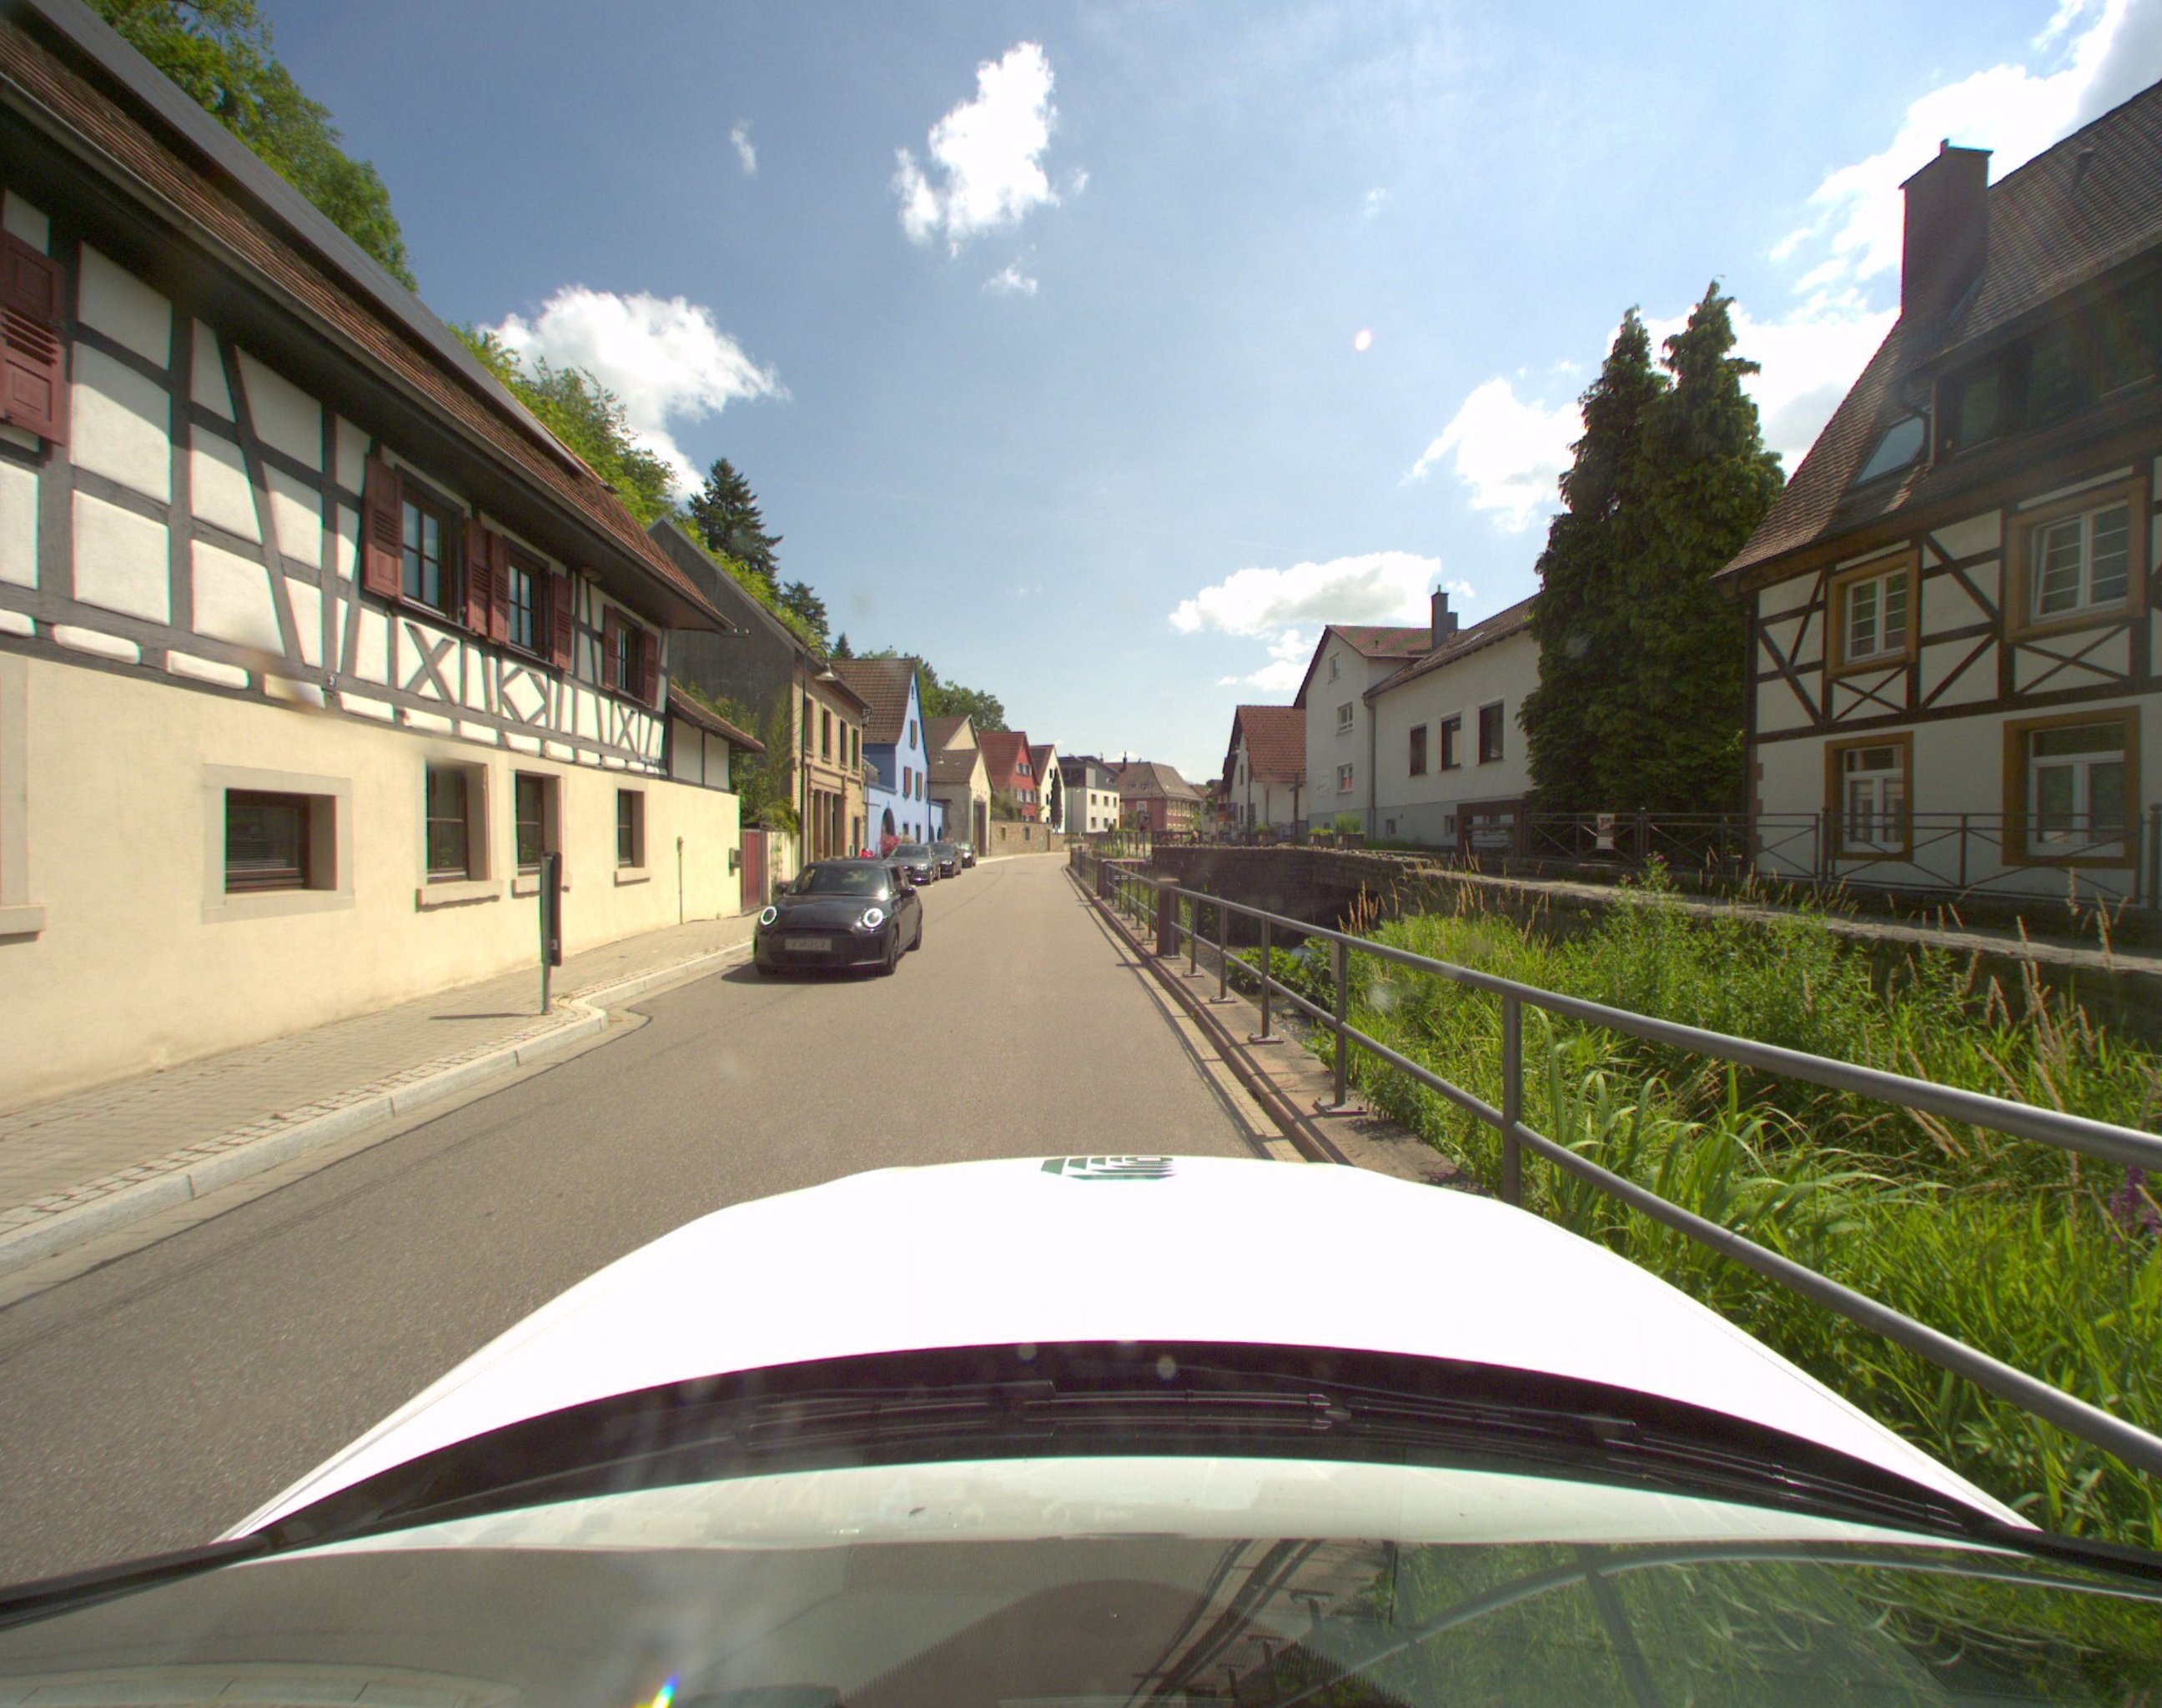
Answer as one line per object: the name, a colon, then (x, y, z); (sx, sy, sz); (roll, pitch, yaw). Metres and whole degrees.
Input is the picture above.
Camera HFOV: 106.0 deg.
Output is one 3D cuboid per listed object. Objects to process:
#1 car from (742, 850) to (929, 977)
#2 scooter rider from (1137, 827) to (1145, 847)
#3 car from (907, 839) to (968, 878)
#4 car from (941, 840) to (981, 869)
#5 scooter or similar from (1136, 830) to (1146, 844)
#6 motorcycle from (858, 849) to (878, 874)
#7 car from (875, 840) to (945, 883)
car: (-3.271, 0.686, 11.725); (1.696, 1.465, 4.427); (0, 0, -5)
scooter rider: (5.105, -1.433, 69.471); (0.640, 1.731, 0.554); (1, 0, -3)
car: (-6.257, 0.142, 35.991); (1.880, 1.463, 4.666); (3, 2, -2)
car: (-6.786, -0.023, 46.461); (1.711, 1.529, 3.856); (-1, 2, 0)
scooter or similar: (5.075, -1.466, 69.361); (0.639, 1.142, 1.810); (-1, 1, -2)
motorcycle: (-8.911, 0.304, 34.154); (0.417, 1.001, 1.855); (5, 0, -4)
car: (-6.415, 0.253, 31.045); (1.953, 1.465, 4.539); (1, 0, -4)
